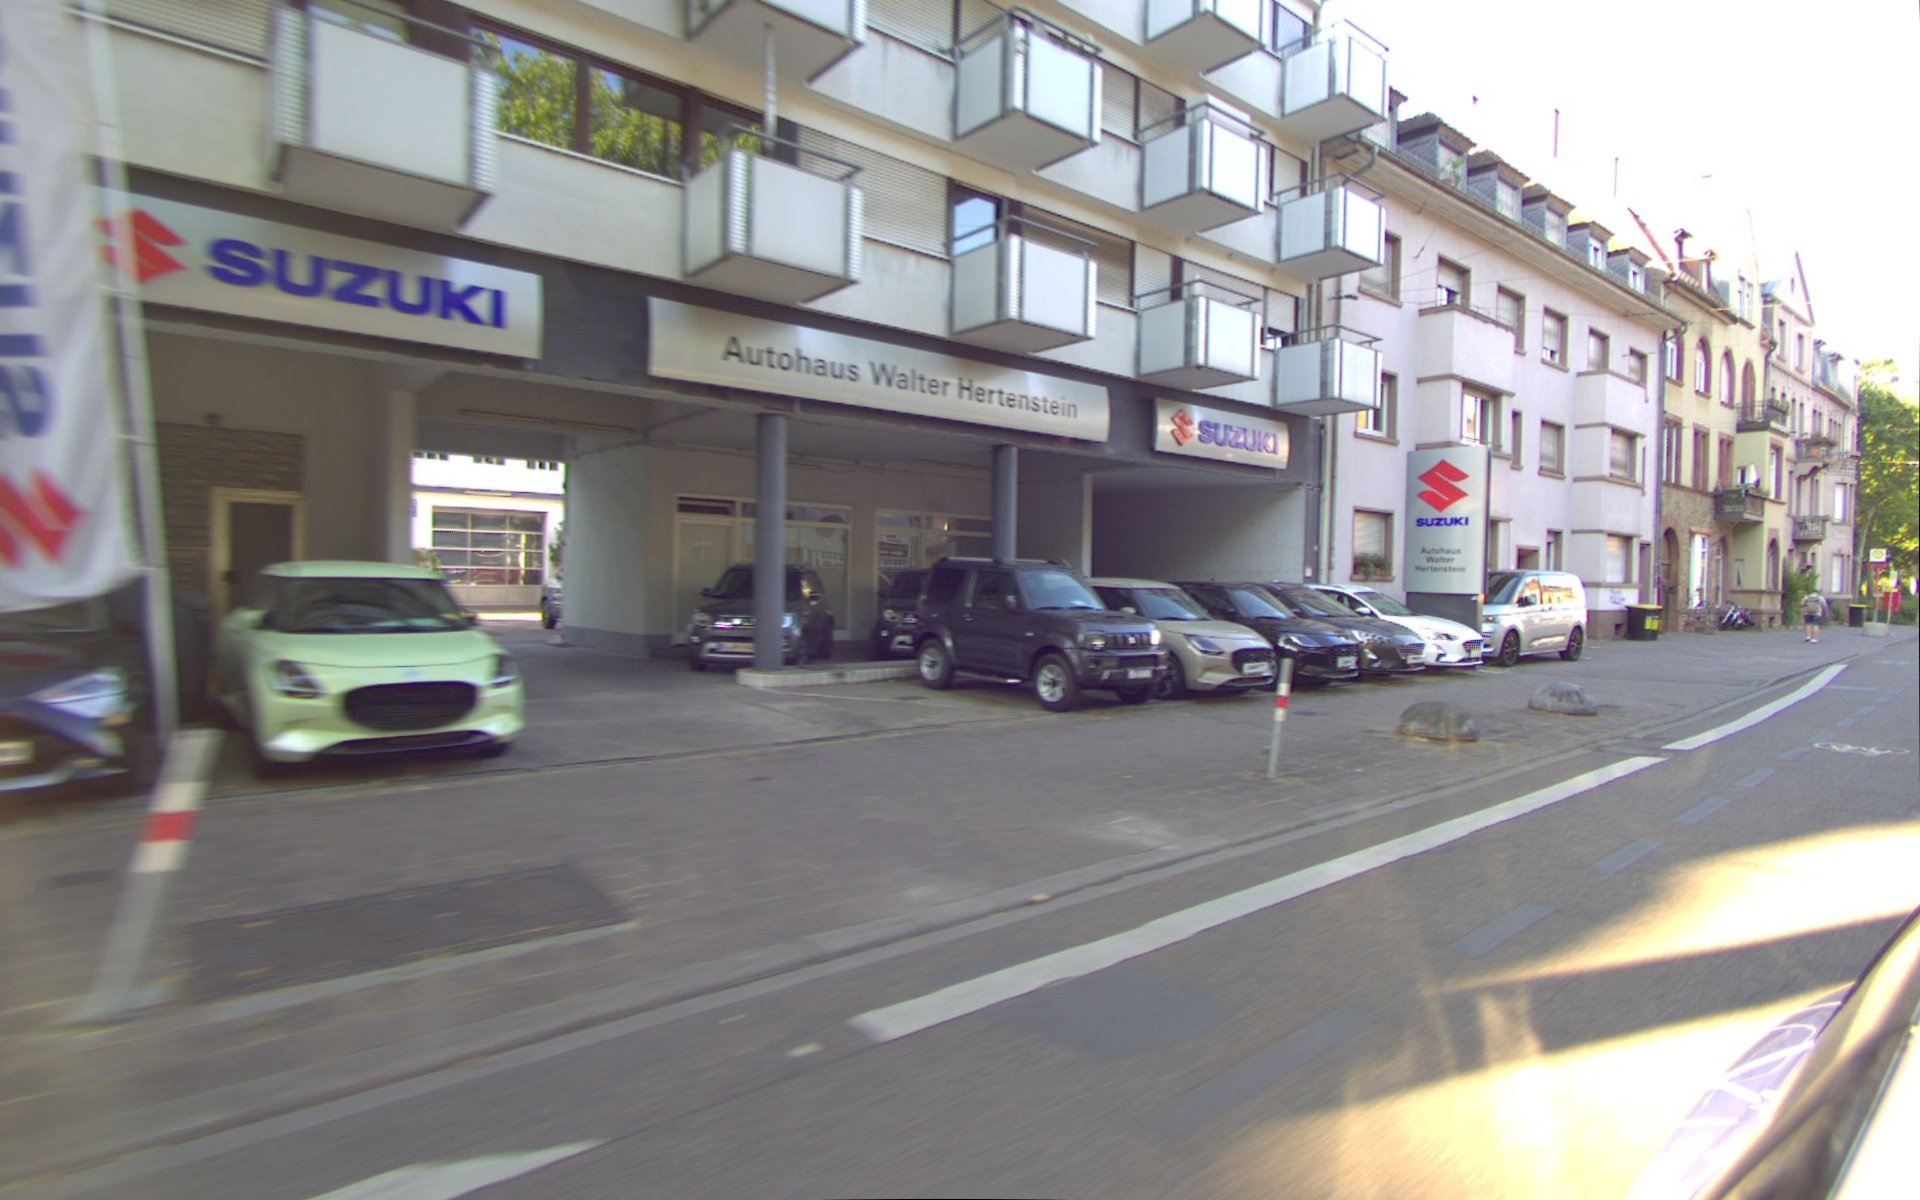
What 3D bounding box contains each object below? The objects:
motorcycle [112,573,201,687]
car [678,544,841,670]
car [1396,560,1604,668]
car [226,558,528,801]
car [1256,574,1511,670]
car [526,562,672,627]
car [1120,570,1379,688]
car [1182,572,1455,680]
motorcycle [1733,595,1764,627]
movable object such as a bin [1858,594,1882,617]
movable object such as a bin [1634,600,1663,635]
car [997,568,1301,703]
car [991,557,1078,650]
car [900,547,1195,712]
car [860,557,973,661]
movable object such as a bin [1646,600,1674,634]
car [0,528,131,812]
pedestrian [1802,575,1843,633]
[{"bbox_3d":[-8.993,0.287,11.300,0.727,1.135,1.934,0,2,-40],"label":"motorcycle"},{"bbox_3d":[-2.937,0.037,15.545,1.589,1.677,3.598,1,2,3],"label":"car"},{"bbox_3d":[11.118,0.174,20.711,4.810,1.972,1.898,-1,2,-37],"label":"car"},{"bbox_3d":[-4.904,0.431,8.299,1.725,1.537,3.428,-1,2,-37],"label":"car"},{"bbox_3d":[7.568,0.322,18.346,1.878,1.520,3.821,1,1,-38],"label":"car"},{"bbox_3d":[-8.930,-0.158,25.137,3.099,1.526,1.490,0,2,-40],"label":"car"},{"bbox_3d":[4.267,0.340,15.304,1.709,1.544,3.428,0,2,-37],"label":"car"},{"bbox_3d":[5.804,0.345,16.736,1.777,1.533,3.876,0,1,-41],"label":"car"},{"bbox_3d":[30.929,0.398,39.695,2.464,1.151,0.590,-2,3,-44],"label":"motorcycle"},{"bbox_3d":[44.596,0.268,49.614,0.645,1.059,0.659,-1,2,-27],"label":"movable object such as a bin"},{"bbox_3d":[20.505,0.511,30.148,0.574,0.981,0.555,-1,2,-38],"label":"movable object such as a bin"},{"bbox_3d":[2.471,0.364,13.949,1.826,1.560,3.827,0,2,-40],"label":"car"},{"bbox_3d":[1.382,0.008,19.275,1.478,1.582,3.346,1,2,3],"label":"car"},{"bbox_3d":[0.956,0.268,12.596,1.651,1.741,3.591,1,1,-37],"label":"car"},{"bbox_3d":[-0.657,0.086,17.503,1.581,1.582,3.524,1,2,3],"label":"car"},{"bbox_3d":[21.195,0.497,30.641,0.574,0.981,0.555,-1,2,-38],"label":"movable object such as a bin"},{"bbox_3d":[-6.522,0.338,6.731,1.418,1.565,3.424,-1,3,-41],"label":"car"},{"bbox_3d":[28.254,0.113,33.142,1.130,1.835,0.830,-1,2,-41],"label":"pedestrian"}]
